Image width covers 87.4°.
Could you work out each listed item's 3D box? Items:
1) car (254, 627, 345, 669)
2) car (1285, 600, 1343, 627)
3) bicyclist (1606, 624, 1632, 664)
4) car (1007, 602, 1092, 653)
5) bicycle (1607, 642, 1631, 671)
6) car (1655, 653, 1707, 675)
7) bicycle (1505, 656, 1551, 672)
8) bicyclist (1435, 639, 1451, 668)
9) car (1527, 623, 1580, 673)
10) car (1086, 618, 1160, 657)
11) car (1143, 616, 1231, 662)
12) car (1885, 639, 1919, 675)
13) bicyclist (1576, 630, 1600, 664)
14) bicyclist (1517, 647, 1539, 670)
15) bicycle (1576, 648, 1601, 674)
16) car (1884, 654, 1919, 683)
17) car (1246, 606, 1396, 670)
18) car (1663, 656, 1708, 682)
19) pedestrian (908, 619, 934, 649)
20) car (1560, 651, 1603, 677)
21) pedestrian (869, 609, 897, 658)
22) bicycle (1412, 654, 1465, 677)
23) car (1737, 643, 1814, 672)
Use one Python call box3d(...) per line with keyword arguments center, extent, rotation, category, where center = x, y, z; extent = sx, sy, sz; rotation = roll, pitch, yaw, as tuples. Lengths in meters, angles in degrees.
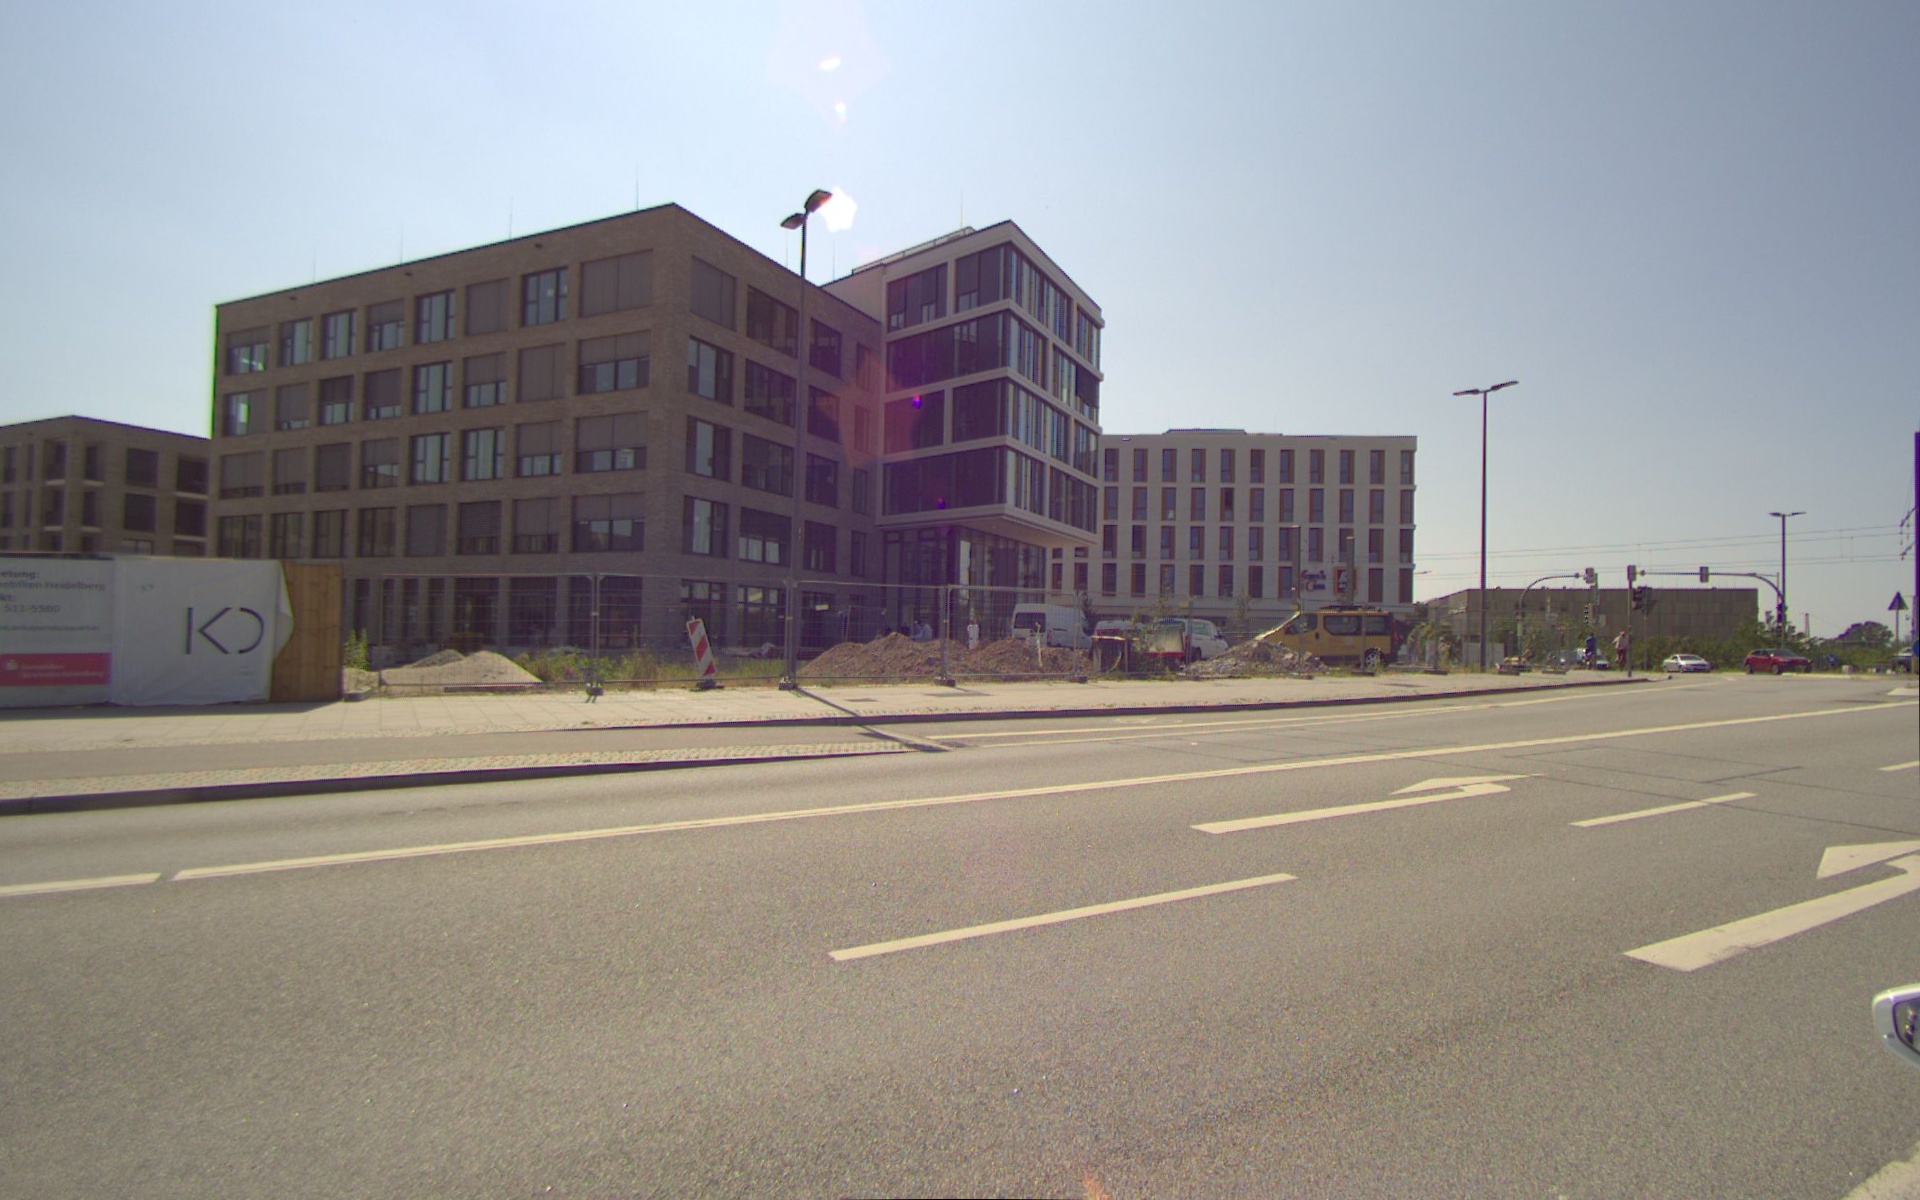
box3d(center=(-30.417, 2.170, 46.236), extent=(3.708, 1.675, 1.834), rotation=(2, 0, 26), category="car")
box3d(center=(28.859, 1.113, 81.859), extent=(1.986, 2.040, 3.949), rotation=(2, 0, -43), category="car")
box3d(center=(27.600, 1.827, 42.090), extent=(0.808, 1.589, 0.946), rotation=(2, 0, 30), category="bicyclist")
box3d(center=(4.016, 1.219, 44.695), extent=(2.175, 2.083, 4.164), rotation=(2, 0, 30), category="car")
box3d(center=(27.588, 2.357, 42.088), extent=(0.665, 1.142, 2.361), rotation=(2, 0, 30), category="bicycle")
box3d(center=(51.410, 4.547, 71.725), extent=(1.736, 1.350, 3.717), rotation=(2, 0, 14), category="car")
box3d(center=(29.234, 3.292, 51.712), extent=(0.508, 0.701, 2.241), rotation=(2, -1, -23), category="bicycle")
box3d(center=(26.148, 2.871, 54.352), extent=(0.647, 1.522, 0.842), rotation=(2, 0, 31), category="bicyclist")
box3d(center=(26.188, 2.072, 44.442), extent=(1.644, 2.040, 3.996), rotation=(2, 0, 26), category="car")
box3d(center=(7.140, 1.595, 43.679), extent=(1.773, 1.528, 3.991), rotation=(2, 0, 31), category="car")
box3d(center=(9.588, 1.612, 42.183), extent=(1.969, 1.730, 4.546), rotation=(2, 0, 35), category="car")
box3d(center=(48.964, 2.929, 50.087), extent=(1.684, 1.764, 4.211), rotation=(2, 0, -1), category="car")
box3d(center=(30.184, 2.265, 48.257), extent=(0.847, 1.580, 0.824), rotation=(2, 0, 26), category="bicyclist")
box3d(center=(29.193, 3.015, 51.627), extent=(0.721, 1.190, 0.655), rotation=(2, -3, -24), category="bicyclist")
box3d(center=(30.200, 2.901, 48.296), extent=(0.715, 1.149, 2.530), rotation=(3, -1, 26), category="bicycle")
box3d(center=(60.104, 4.326, 62.194), extent=(1.797, 1.666, 4.209), rotation=(2, 0, -1), category="car")
box3d(center=(12.043, 1.243, 33.783), extent=(4.395, 1.915, 2.001), rotation=(2, 0, 8), category="car")
box3d(center=(65.394, 6.192, 90.593), extent=(1.960, 2.040, 4.002), rotation=(1, -1, 14), category="car")
box3d(center=(-1.931, 1.679, 49.406), extent=(1.099, 1.391, 0.742), rotation=(2, 0, -17), category="pedestrian")
box3d(center=(56.396, 5.773, 91.214), extent=(1.577, 2.040, 4.002), rotation=(2, 0, 4), category="car")
box3d(center=(-3.342, 1.430, 43.409), extent=(0.949, 2.040, 0.940), rotation=(2, 0, -17), category="pedestrian")
box3d(center=(25.933, 3.536, 54.467), extent=(2.469, 1.020, 0.604), rotation=(2, -4, 33), category="bicycle")
box3d(center=(48.985, 3.422, 60.451), extent=(1.650, 1.475, 4.002), rotation=(2, 0, 6), category="car")
